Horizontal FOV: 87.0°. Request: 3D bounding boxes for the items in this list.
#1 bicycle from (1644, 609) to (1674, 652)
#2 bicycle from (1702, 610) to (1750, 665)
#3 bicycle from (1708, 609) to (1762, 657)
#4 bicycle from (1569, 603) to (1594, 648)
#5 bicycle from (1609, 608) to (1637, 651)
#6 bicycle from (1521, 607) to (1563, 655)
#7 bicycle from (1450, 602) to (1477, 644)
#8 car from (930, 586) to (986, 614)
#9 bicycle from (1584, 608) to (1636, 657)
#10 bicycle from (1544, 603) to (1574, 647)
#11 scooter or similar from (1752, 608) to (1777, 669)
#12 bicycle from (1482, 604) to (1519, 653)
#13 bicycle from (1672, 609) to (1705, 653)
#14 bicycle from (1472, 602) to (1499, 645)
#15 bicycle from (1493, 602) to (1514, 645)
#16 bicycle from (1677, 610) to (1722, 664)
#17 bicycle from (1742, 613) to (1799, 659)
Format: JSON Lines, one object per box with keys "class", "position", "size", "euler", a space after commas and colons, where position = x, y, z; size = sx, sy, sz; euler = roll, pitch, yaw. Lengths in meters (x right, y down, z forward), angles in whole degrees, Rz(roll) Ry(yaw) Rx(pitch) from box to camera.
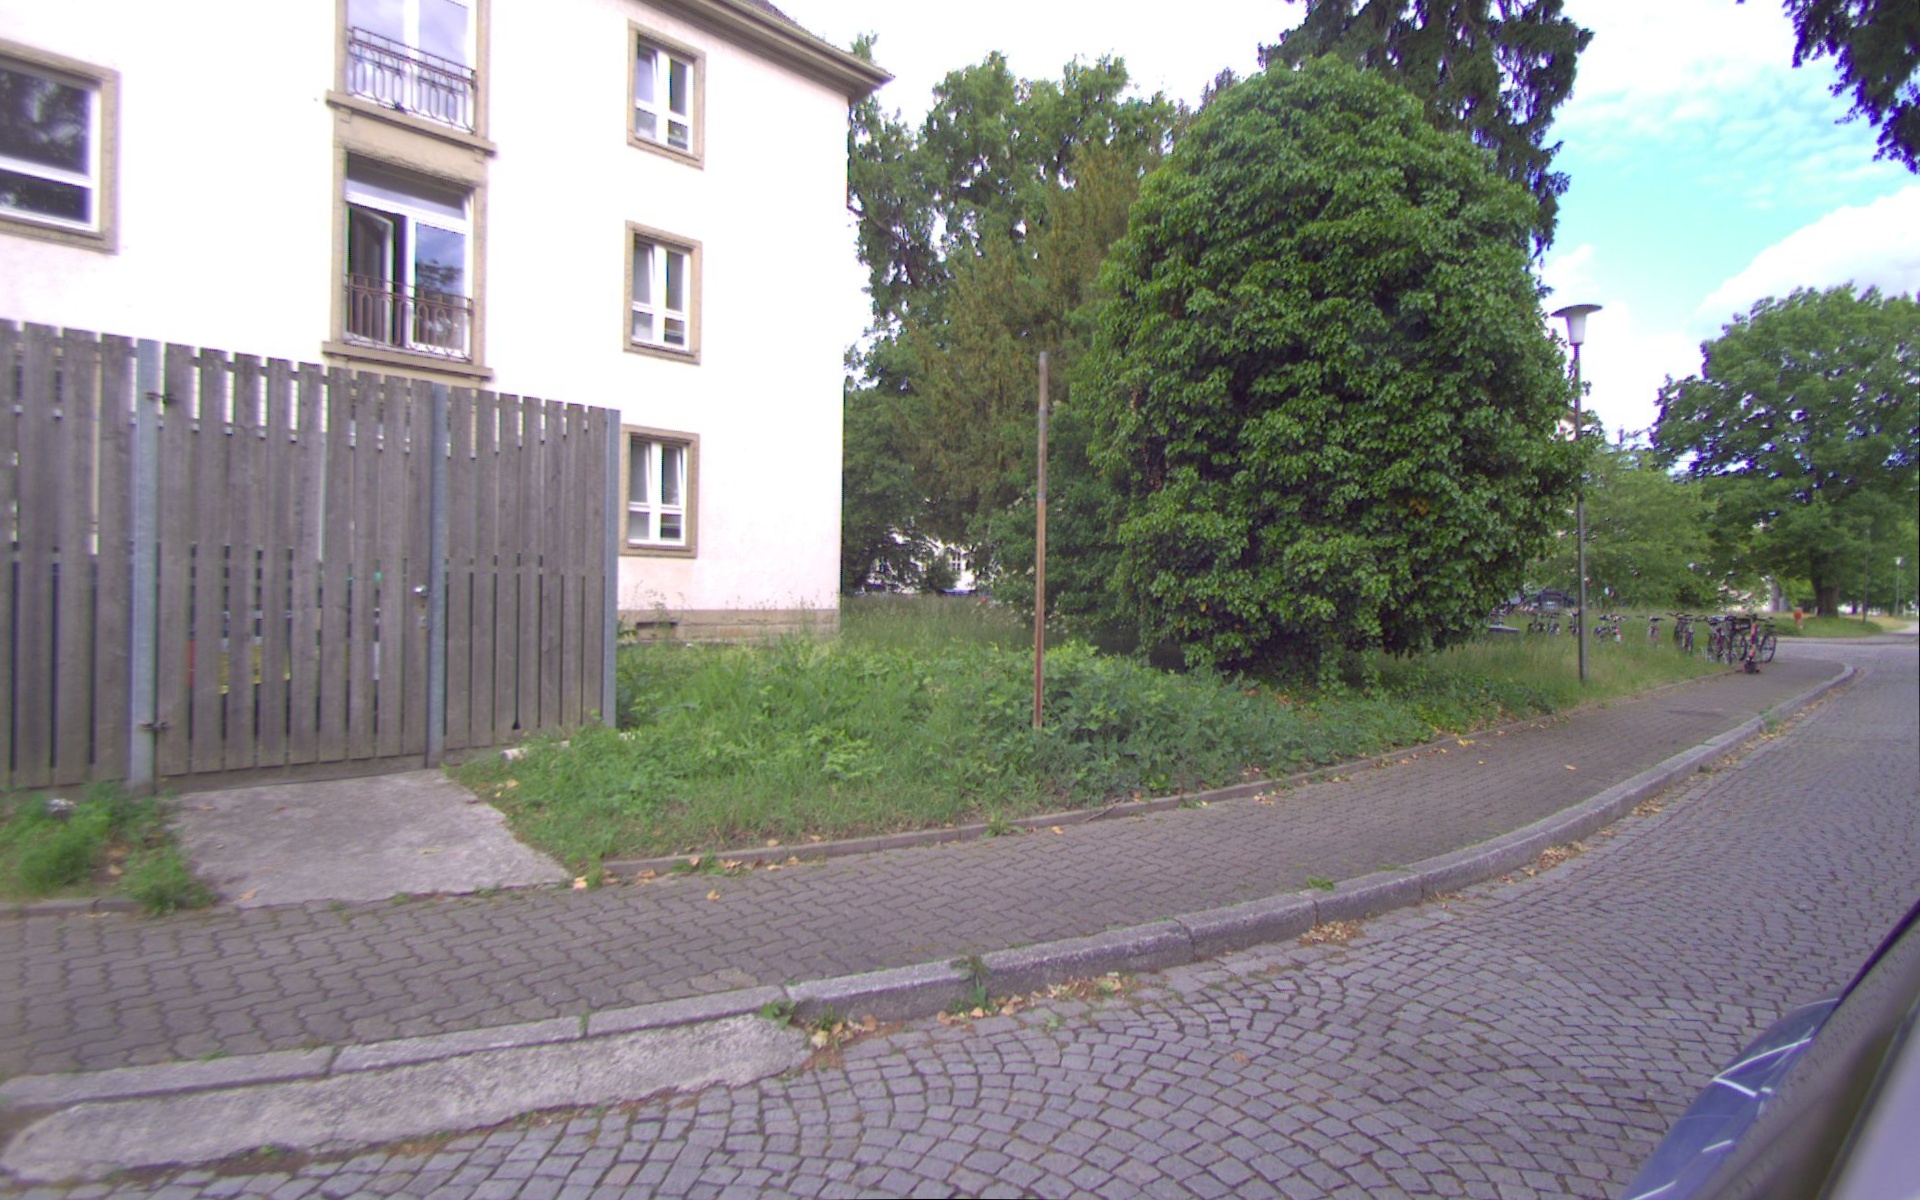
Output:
{"class": "bicycle", "position": [17.961, 0.767, 26.028], "size": [0.473, 1.020, 1.651], "euler": [0, 2, 29]}
{"class": "bicycle", "position": [16.975, 0.811, 22.456], "size": [0.546, 1.128, 1.752], "euler": [1, 0, 27]}
{"class": "bicycle", "position": [19.424, 0.810, 25.392], "size": [0.471, 1.087, 1.615], "euler": [0, 1, 15]}
{"class": "bicycle", "position": [16.452, 0.657, 26.821], "size": [0.473, 1.126, 1.747], "euler": [1, 0, 29]}
{"class": "bicycle", "position": [17.371, 0.758, 26.529], "size": [0.473, 1.020, 1.651], "euler": [0, 2, 29]}
{"class": "bicycle", "position": [13.880, 0.711, 24.167], "size": [0.544, 1.078, 1.742], "euler": [1, 0, 20]}
{"class": "bicycle", "position": [14.003, 0.624, 28.135], "size": [0.439, 1.126, 1.631], "euler": [1, 0, 35]}
{"class": "car", "position": [-0.119, 0.007, 58.567], "size": [3.196, 1.584, 1.381], "euler": [0, 1, -45]}
{"class": "bicycle", "position": [15.109, 0.731, 23.566], "size": [0.610, 1.078, 1.814], "euler": [1, 0, 20]}
{"class": "bicycle", "position": [16.114, 0.652, 27.237], "size": [0.472, 1.126, 1.751], "euler": [1, 0, 23]}
{"class": "scooter or similar", "position": [16.692, 0.788, 20.995], "size": [0.356, 1.225, 1.120], "euler": [1, 0, 41]}
{"class": "bicycle", "position": [13.572, 0.696, 25.387], "size": [0.548, 1.186, 1.730], "euler": [1, 0, 37]}
{"class": "bicycle", "position": [18.459, 0.775, 25.662], "size": [0.473, 1.020, 1.651], "euler": [0, 2, 29]}
{"class": "bicycle", "position": [14.527, 0.633, 27.965], "size": [0.439, 1.126, 1.631], "euler": [1, 0, 35]}
{"class": "bicycle", "position": [14.962, 0.634, 27.839], "size": [0.473, 1.126, 1.747], "euler": [1, 0, 29]}
{"class": "bicycle", "position": [16.520, 0.803, 22.641], "size": [0.546, 1.128, 1.787], "euler": [1, 0, 27]}
{"class": "bicycle", "position": [19.892, 0.862, 24.862], "size": [0.471, 1.020, 1.615], "euler": [0, 1, 15]}
